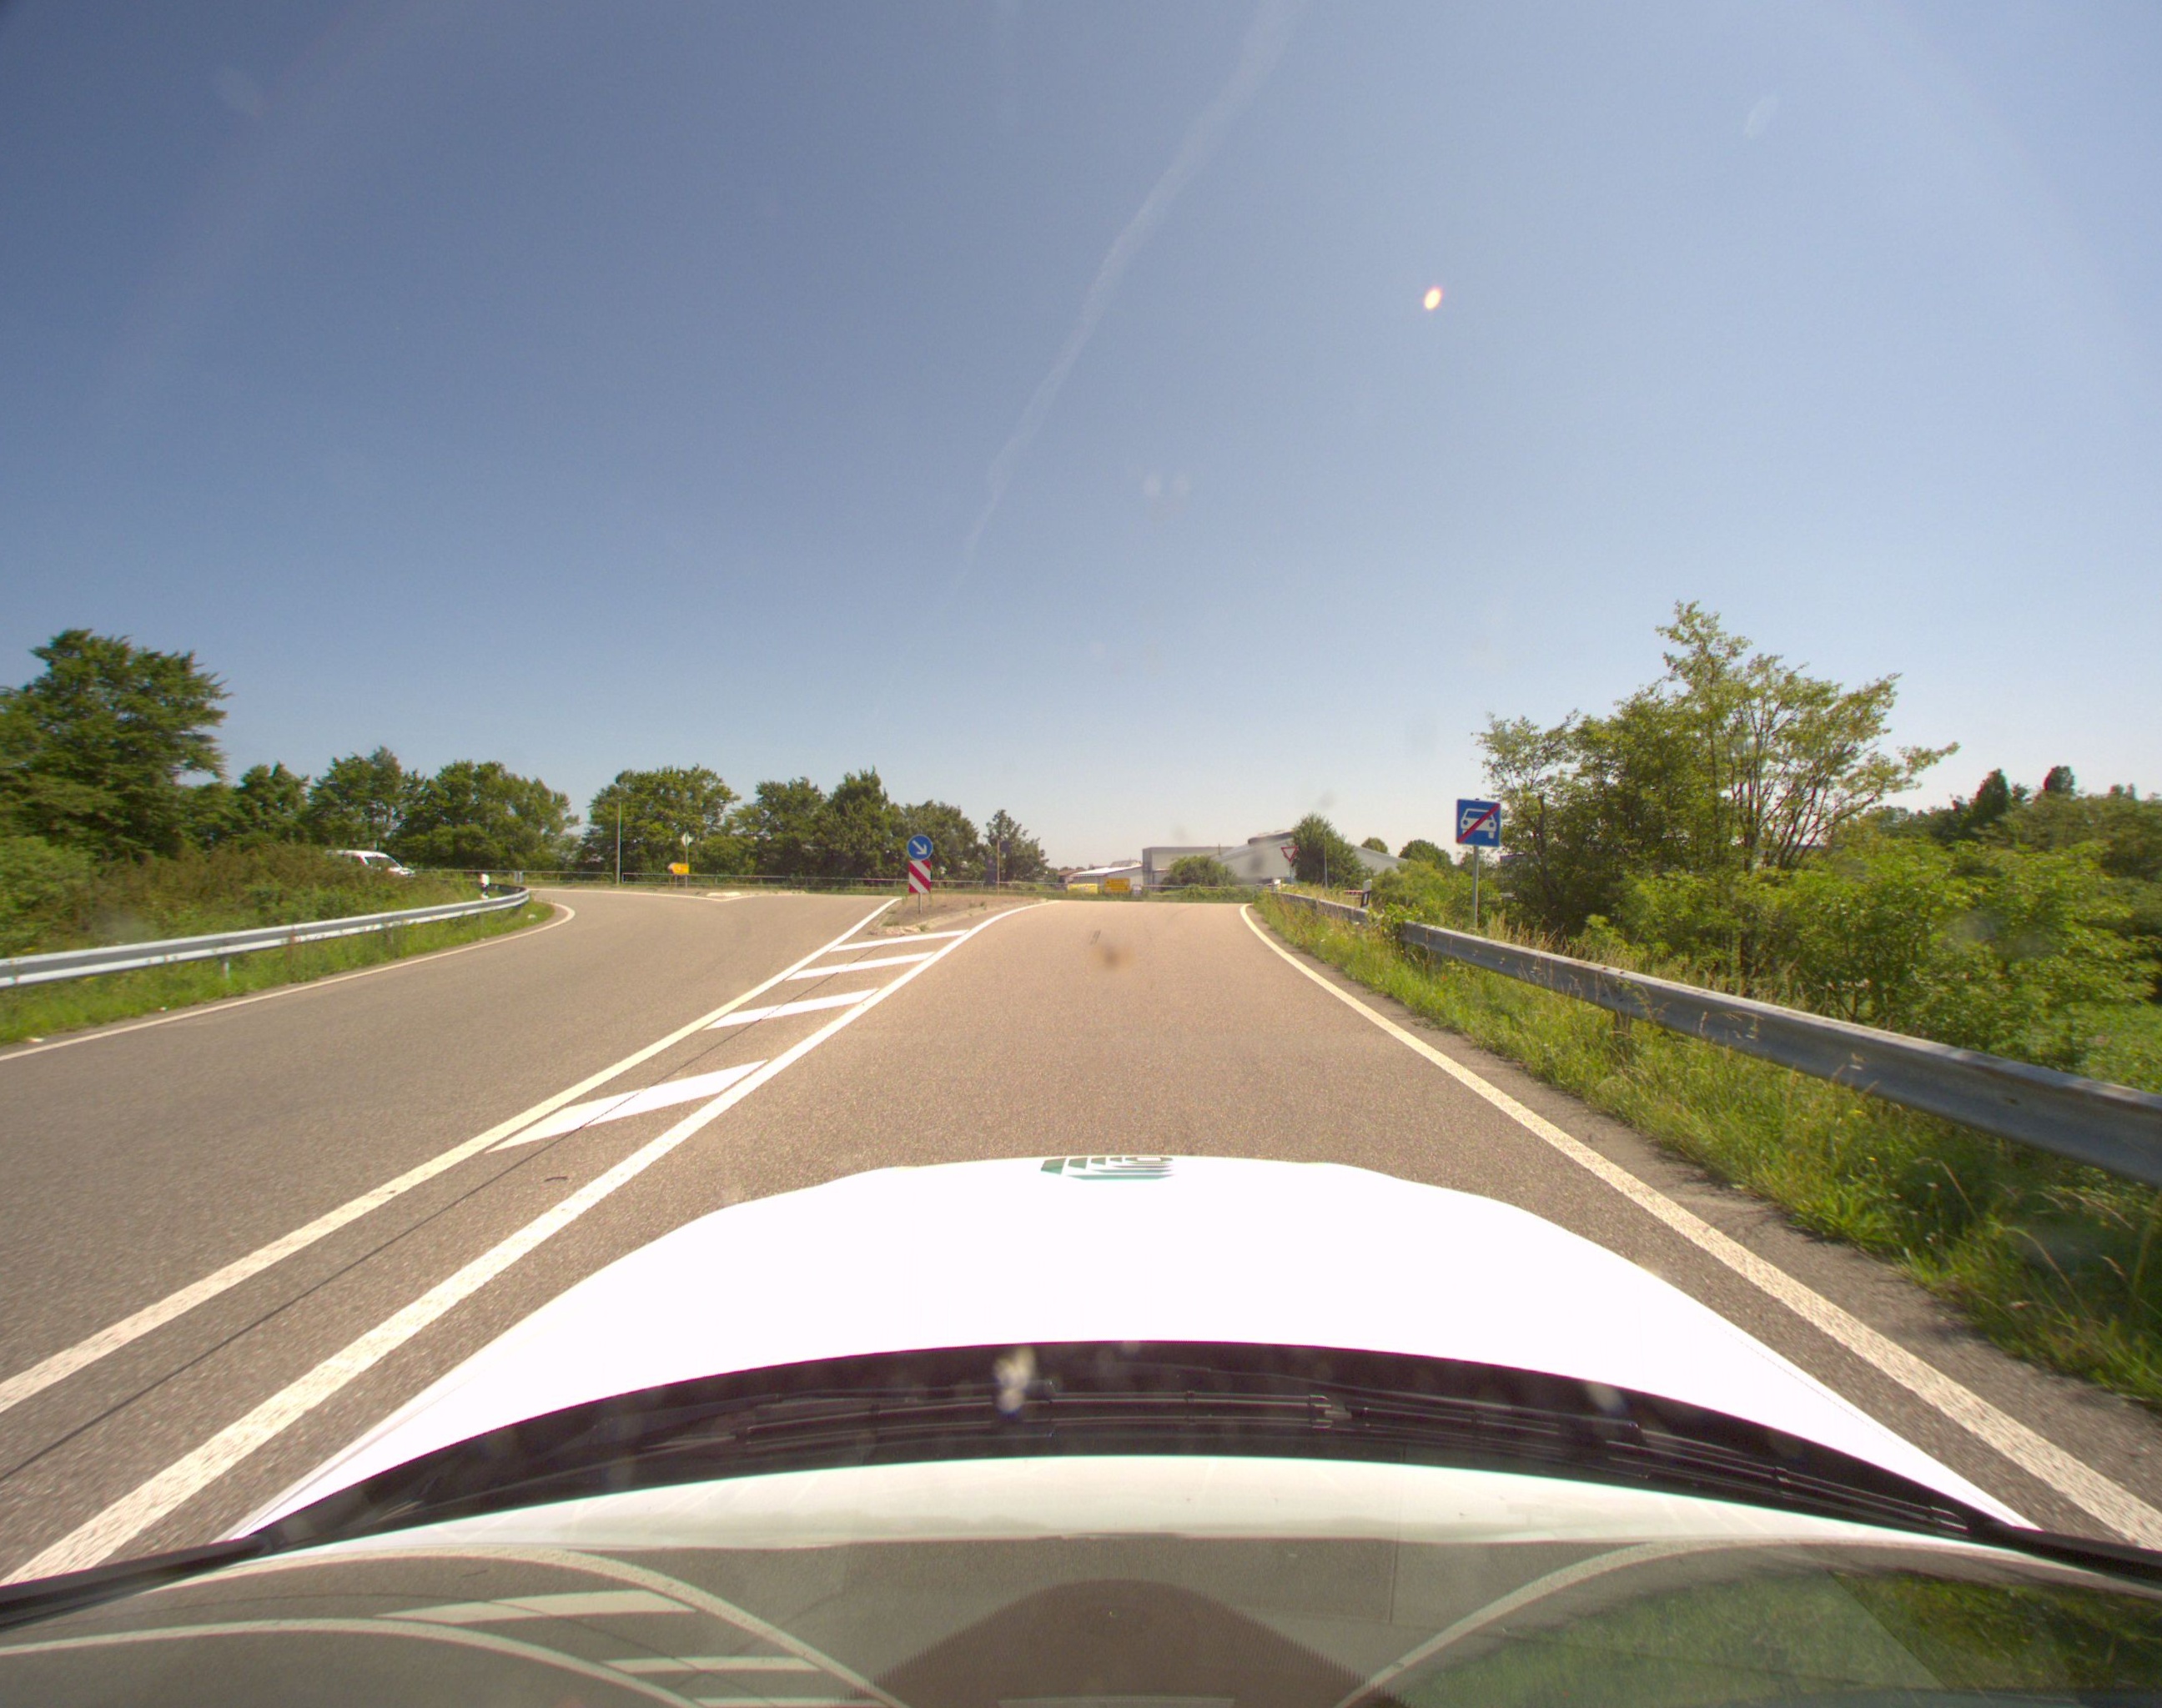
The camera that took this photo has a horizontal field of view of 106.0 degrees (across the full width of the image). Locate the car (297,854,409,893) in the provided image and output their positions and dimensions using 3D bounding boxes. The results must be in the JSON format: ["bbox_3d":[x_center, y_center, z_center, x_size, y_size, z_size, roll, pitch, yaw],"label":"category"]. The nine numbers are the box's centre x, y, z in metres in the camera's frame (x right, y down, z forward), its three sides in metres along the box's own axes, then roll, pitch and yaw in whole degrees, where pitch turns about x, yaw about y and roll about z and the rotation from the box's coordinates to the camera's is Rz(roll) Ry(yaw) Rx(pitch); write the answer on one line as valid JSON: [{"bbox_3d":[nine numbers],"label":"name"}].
[{"bbox_3d":[-33.986,0.904,38.054,4.045,1.761,1.747,-1,0,9],"label":"car"}]

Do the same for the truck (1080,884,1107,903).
[{"bbox_3d":[2.876,9.461,195.325,3.711,4.312,13.283,1,-3,-12],"label":"truck"}]

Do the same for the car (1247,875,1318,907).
[{"bbox_3d":[11.510,2.093,46.358,4.019,1.691,1.794,0,-3,-38],"label":"car"}]
